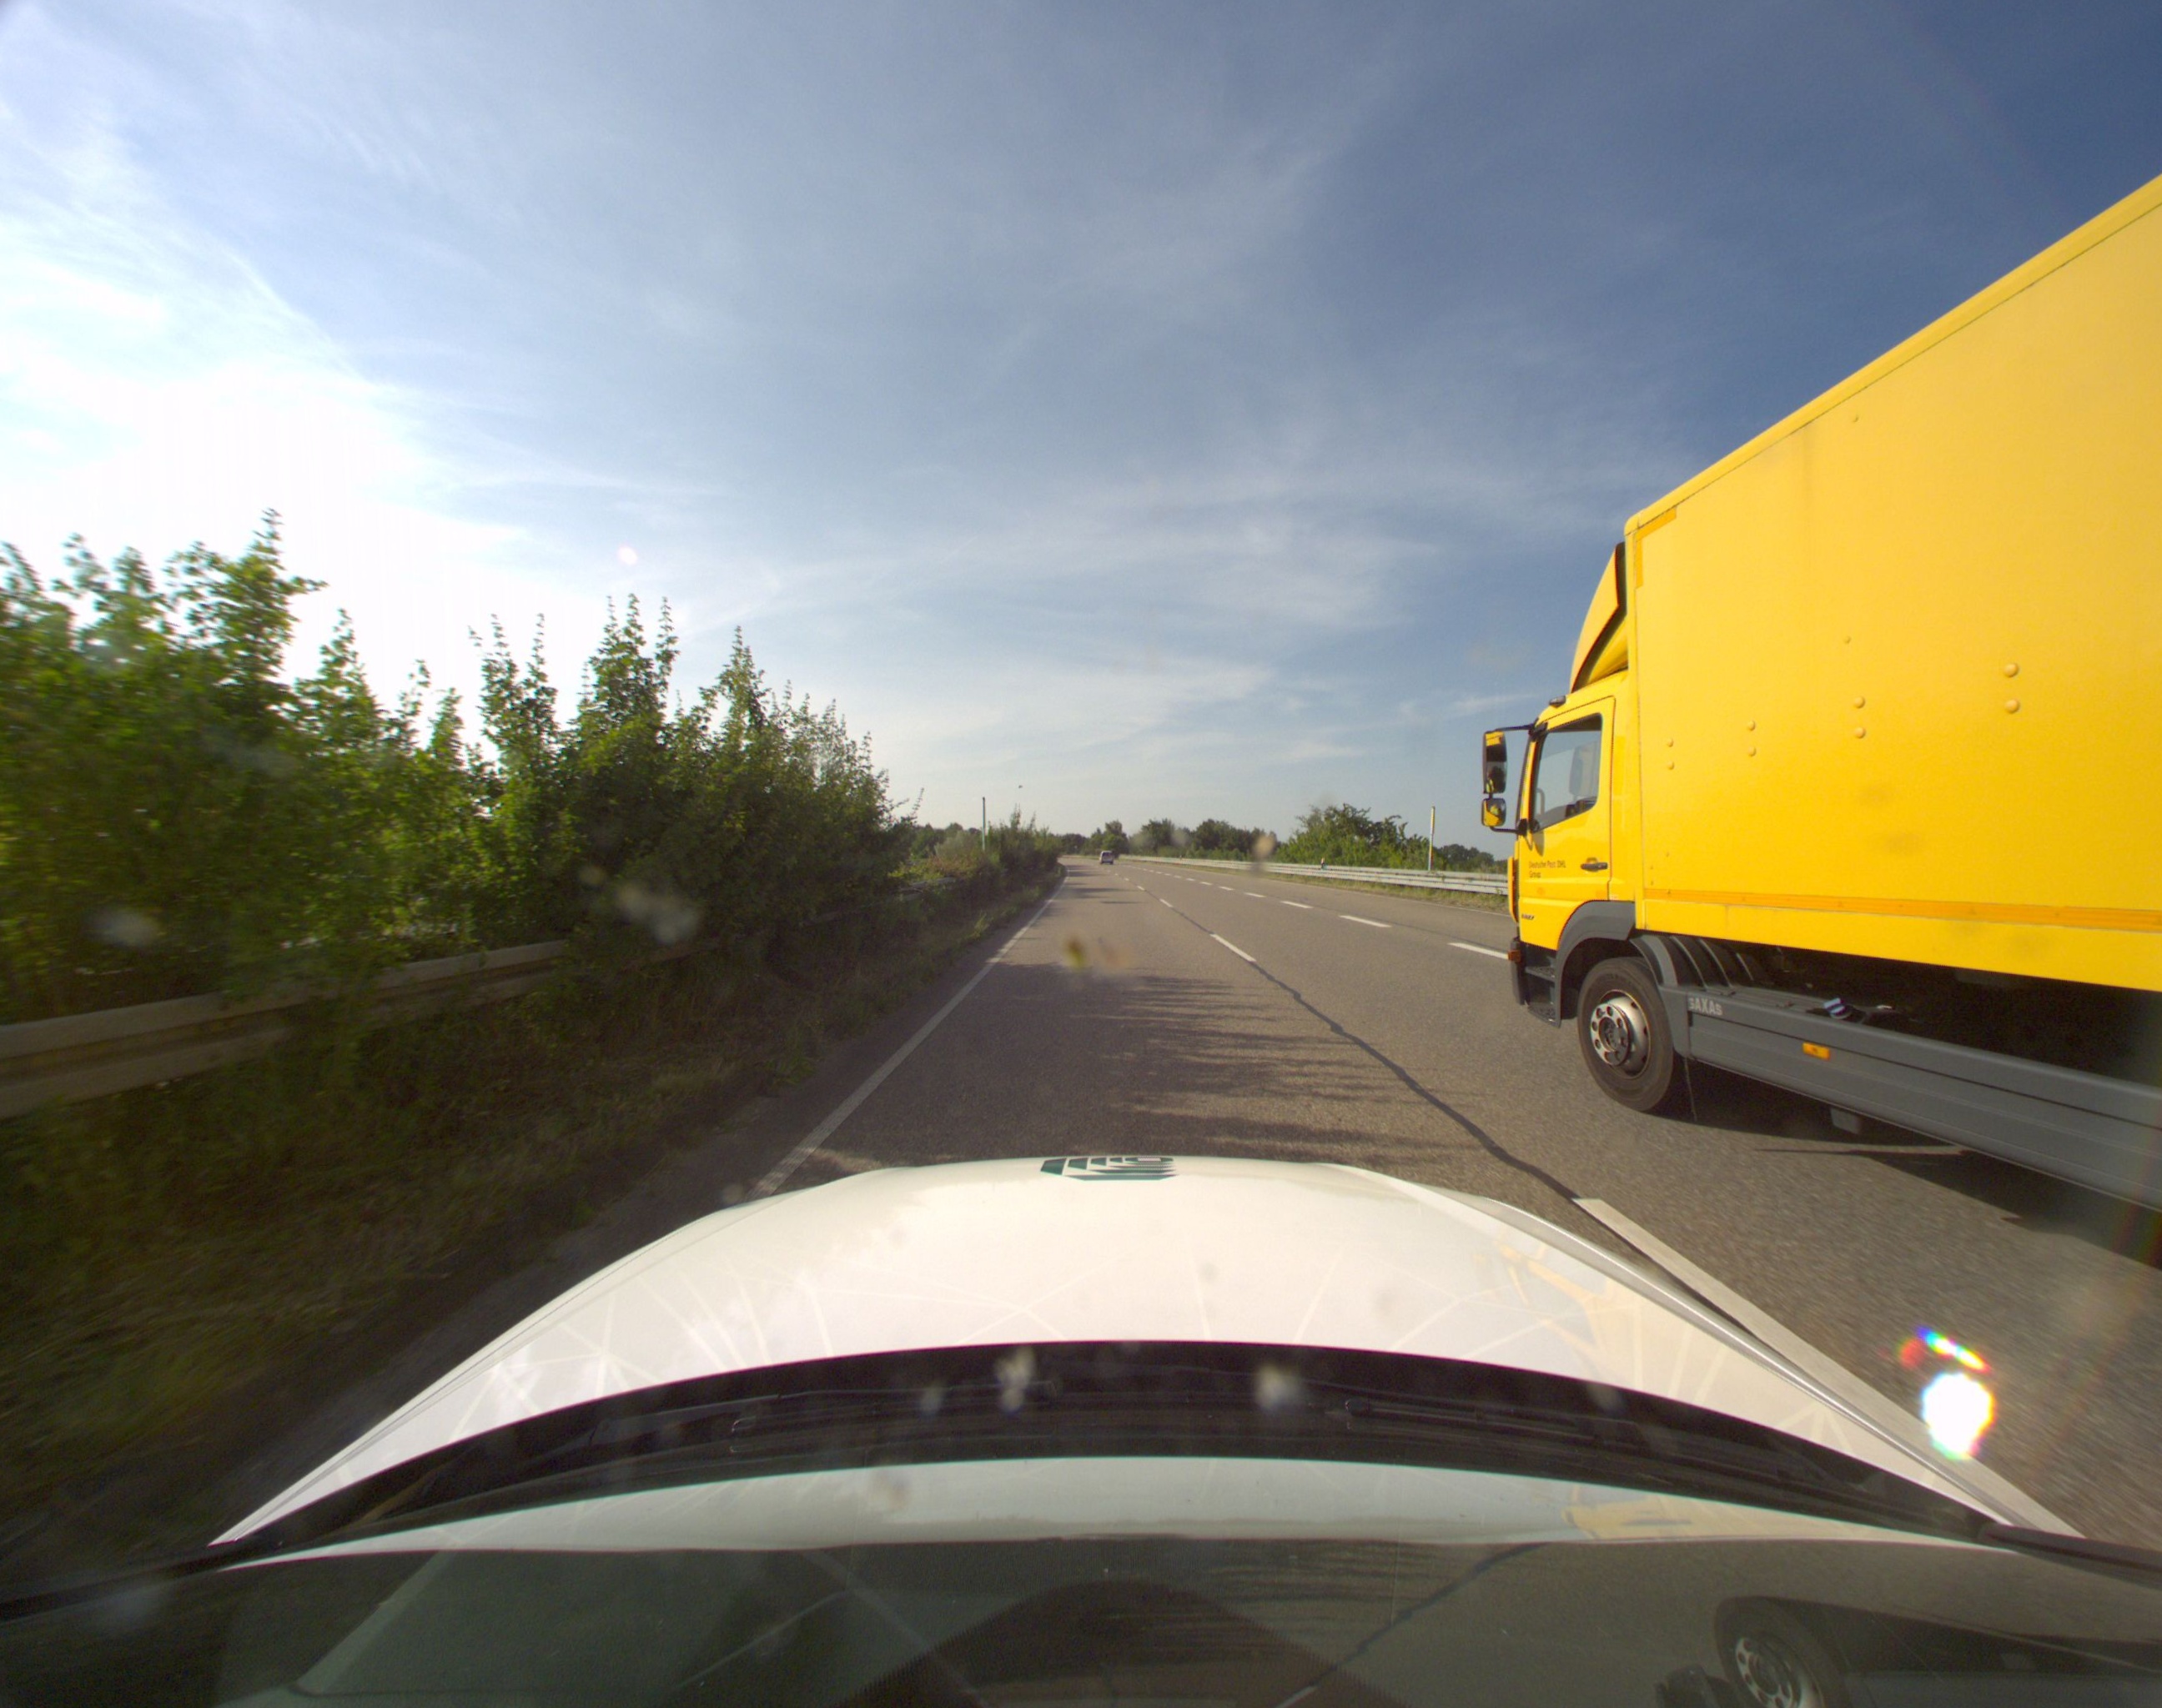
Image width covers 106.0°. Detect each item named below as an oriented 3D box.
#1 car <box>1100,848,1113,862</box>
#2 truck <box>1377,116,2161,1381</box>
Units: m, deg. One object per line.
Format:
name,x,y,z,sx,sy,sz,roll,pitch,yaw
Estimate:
car,3.489,0.103,110.890,1.759,1.882,4.001,-1,-1,1
truck,4.239,-0.284,2.903,2.769,3.316,10.492,-1,0,1
